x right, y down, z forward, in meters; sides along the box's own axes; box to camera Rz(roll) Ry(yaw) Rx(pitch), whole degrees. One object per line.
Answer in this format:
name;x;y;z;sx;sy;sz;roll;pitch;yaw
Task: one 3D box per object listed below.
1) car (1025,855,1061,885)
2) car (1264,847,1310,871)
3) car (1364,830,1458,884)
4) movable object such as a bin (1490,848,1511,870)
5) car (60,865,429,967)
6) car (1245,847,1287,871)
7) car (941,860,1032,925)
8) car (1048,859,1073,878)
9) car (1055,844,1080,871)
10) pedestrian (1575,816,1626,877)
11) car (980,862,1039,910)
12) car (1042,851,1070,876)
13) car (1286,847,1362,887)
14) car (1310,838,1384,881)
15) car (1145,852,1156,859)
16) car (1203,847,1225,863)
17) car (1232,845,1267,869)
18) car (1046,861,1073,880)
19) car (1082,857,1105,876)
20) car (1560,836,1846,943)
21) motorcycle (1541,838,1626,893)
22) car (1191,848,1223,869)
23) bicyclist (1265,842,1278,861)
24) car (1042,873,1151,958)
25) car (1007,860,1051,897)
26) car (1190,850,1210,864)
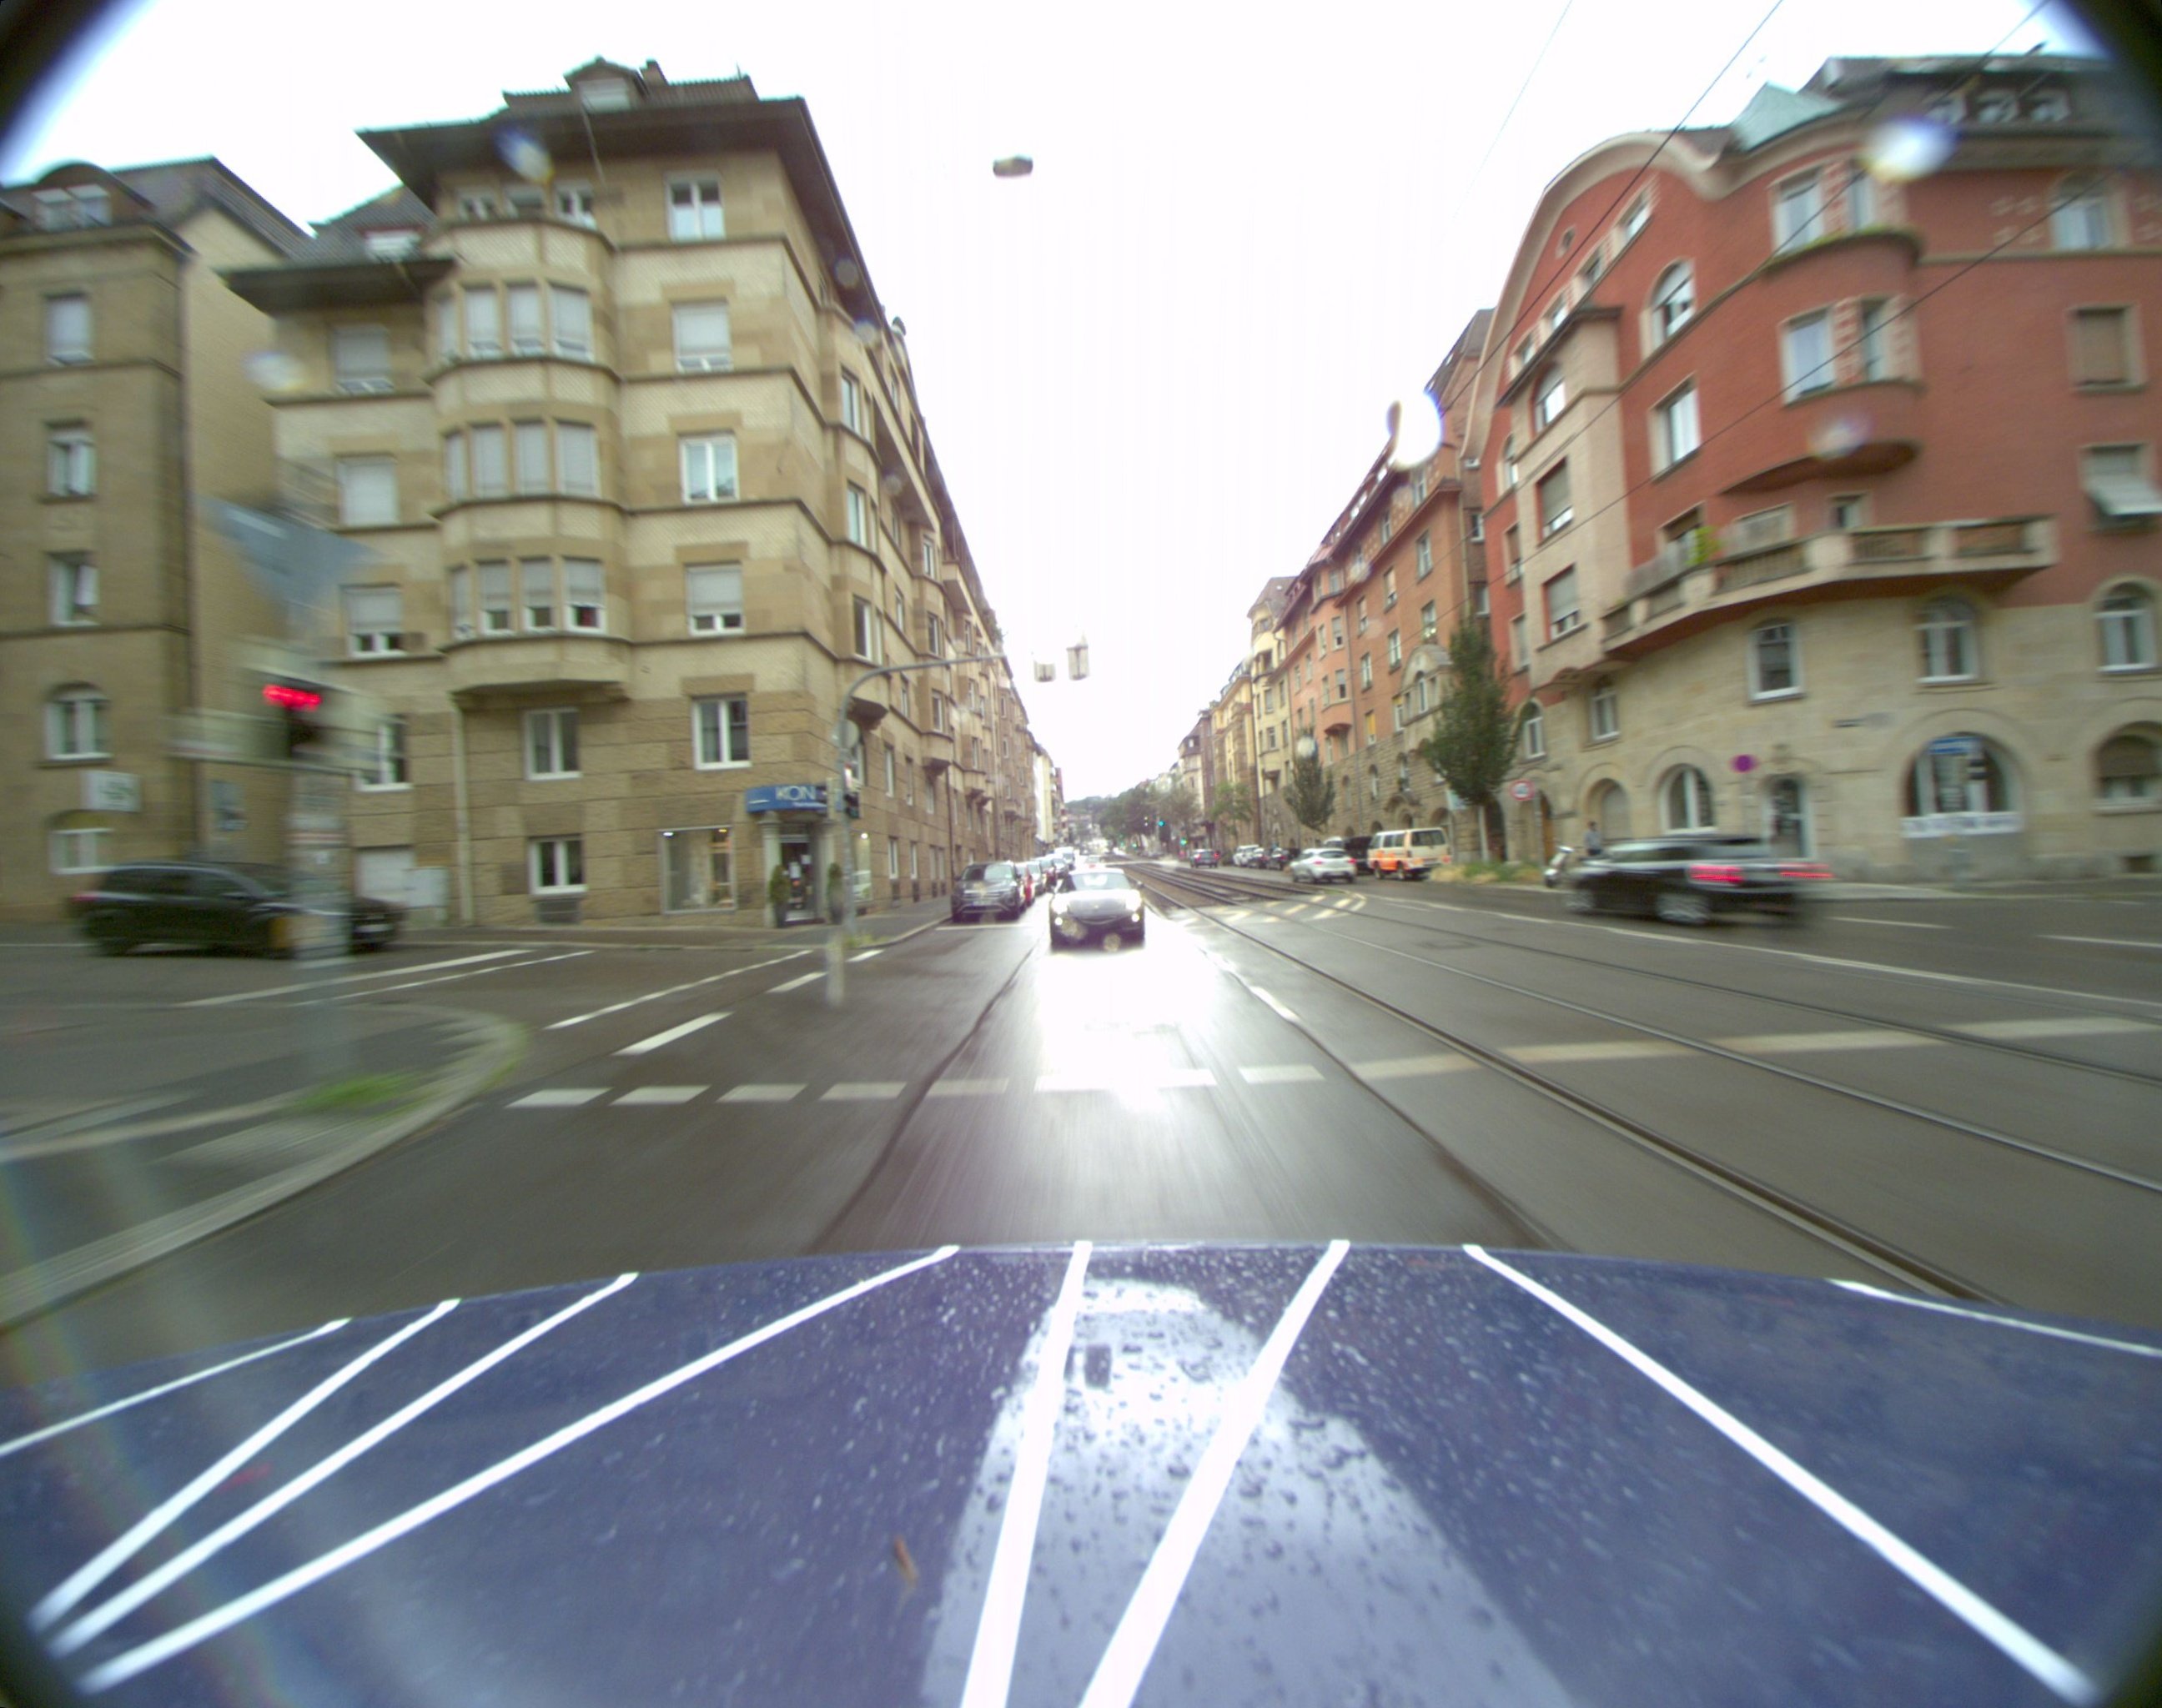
car;-2.134;0.895;43.601;1.774;1.592;4.000;-2;0;0
car;13.420;0.301;49.700;1.760;1.395;3.694;-5;1;-2
car;12.991;0.096;30.249;1.732;1.919;4.475;-3;0;0
movable object such as a bin;17.917;0.222;32.474;0.547;0.893;0.656;-3;1;4
car;-14.724;1.054;13.581;4.521;1.642;1.875;1;-1;1
car;13.238;0.321;54.590;1.760;1.482;4.597;-5;0;-1
car;-2.545;0.999;21.446;1.872;1.539;3.991;-4;0;1
car;-1.796;1.297;67.707;1.935;1.515;4.059;-4;0;1
car;-1.400;0.354;79.434;1.991;2.520;6.155;-4;0;3
pedestrian;15.609;-0.217;22.844;0.718;1.709;0.892;-8;1;1
car;-2.470;1.072;26.976;1.710;1.444;3.532;-4;0;-1
car;-1.879;0.713;58.453;1.811;1.758;3.962;-3;0;1
car;10.024;0.488;31.646;1.785;1.494;4.062;-3;0;0
car;13.010;0.237;37.477;1.910;1.919;4.832;-3;0;1
car;14.088;0.352;154.894;1.793;1.338;4.257;-3;0;1
car;13.790;0.052;79.016;1.717;1.473;3.713;-6;0;3
car;13.324;0.202;60.364;1.759;1.662;4.259;-6;0;1
car;-1.772;1.332;63.273;1.931;1.380;3.982;-4;0;1
car;1.070;1.037;63.709;1.793;1.459;4.258;-3;0;2
car;9.873;0.511;12.494;1.657;1.454;3.735;-2;0;1
motorcycle;13.018;0.305;19.728;1.780;1.367;0.769;-2;1;33
car;10.714;0.343;64.940;1.926;1.608;4.128;-3;0;0
bicyclist;16.604;-0.202;66.216;0.894;1.592;0.774;-3;1;1
car;0.310;1.048;14.411;1.737;1.262;4.258;-1;0;2
car;-2.308;1.063;34.287;1.598;1.478;3.522;-2;0;2
car;14.069;0.307;90.130;1.759;1.419;3.713;-6;0;3
